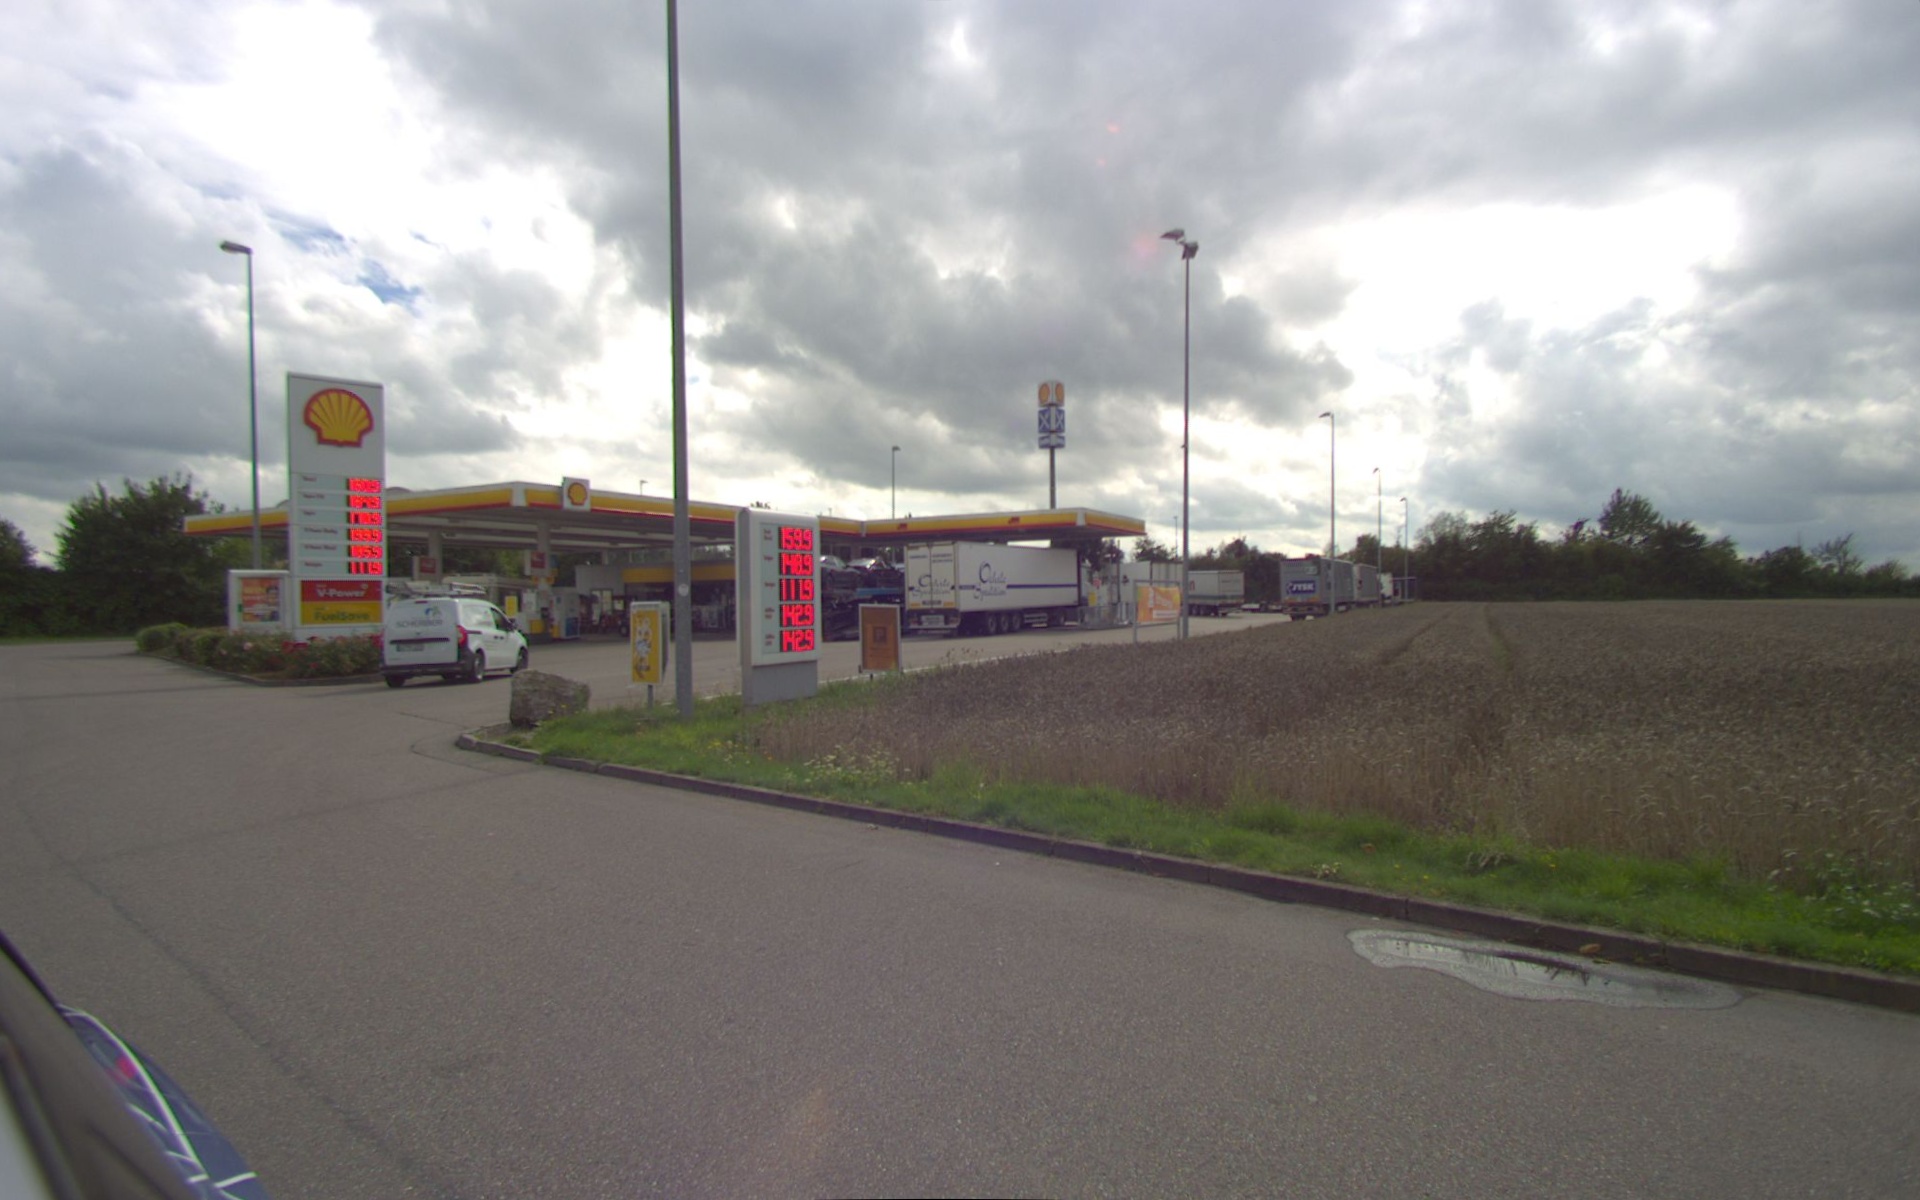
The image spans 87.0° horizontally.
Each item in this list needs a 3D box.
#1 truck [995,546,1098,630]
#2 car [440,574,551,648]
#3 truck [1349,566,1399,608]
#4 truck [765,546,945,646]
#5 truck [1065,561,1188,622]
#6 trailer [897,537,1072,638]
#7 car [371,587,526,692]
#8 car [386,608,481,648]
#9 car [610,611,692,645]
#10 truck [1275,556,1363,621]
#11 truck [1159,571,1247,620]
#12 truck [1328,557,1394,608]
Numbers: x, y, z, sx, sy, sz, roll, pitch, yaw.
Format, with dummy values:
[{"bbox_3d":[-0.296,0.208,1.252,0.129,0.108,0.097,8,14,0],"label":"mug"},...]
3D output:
[{"bbox_3d":[4.664,-0.583,53.094,2.700,4.055,7.100,-2,-1,28],"label":"truck"},{"bbox_3d":[-19.063,0.453,41.845,2.191,2.808,5.813,-1,0,-3],"label":"car"},{"bbox_3d":[41.666,-1.257,101.598,2.814,3.923,12.675,0,0,31],"label":"truck"},{"bbox_3d":[-4.334,-0.164,46.662,2.732,3.953,13.168,0,0,20],"label":"truck"},{"bbox_3d":[12.187,-0.594,76.492,2.913,4.143,14.793,0,0,-17],"label":"truck"},{"bbox_3d":[1.563,-0.517,47.423,2.700,4.055,12.724,-2,-1,28],"label":"trailer"},{"bbox_3d":[-10.961,0.812,22.000,1.768,2.027,3.887,-1,-1,-7],"label":"car"},{"bbox_3d":[-22.588,1.176,43.581,1.973,1.571,3.959,-2,0,1],"label":"car"},{"bbox_3d":[-15.233,1.383,49.877,3.742,1.613,1.701,-2,0,27],"label":"car"},{"bbox_3d":[24.821,-0.744,69.308,2.814,3.923,15.300,0,0,31],"label":"truck"},{"bbox_3d":[21.966,-0.286,92.543,2.945,4.142,11.603,-1,0,-13],"label":"truck"},{"bbox_3d":[33.995,-1.402,85.353,2.814,3.923,15.300,0,0,31],"label":"truck"}]
